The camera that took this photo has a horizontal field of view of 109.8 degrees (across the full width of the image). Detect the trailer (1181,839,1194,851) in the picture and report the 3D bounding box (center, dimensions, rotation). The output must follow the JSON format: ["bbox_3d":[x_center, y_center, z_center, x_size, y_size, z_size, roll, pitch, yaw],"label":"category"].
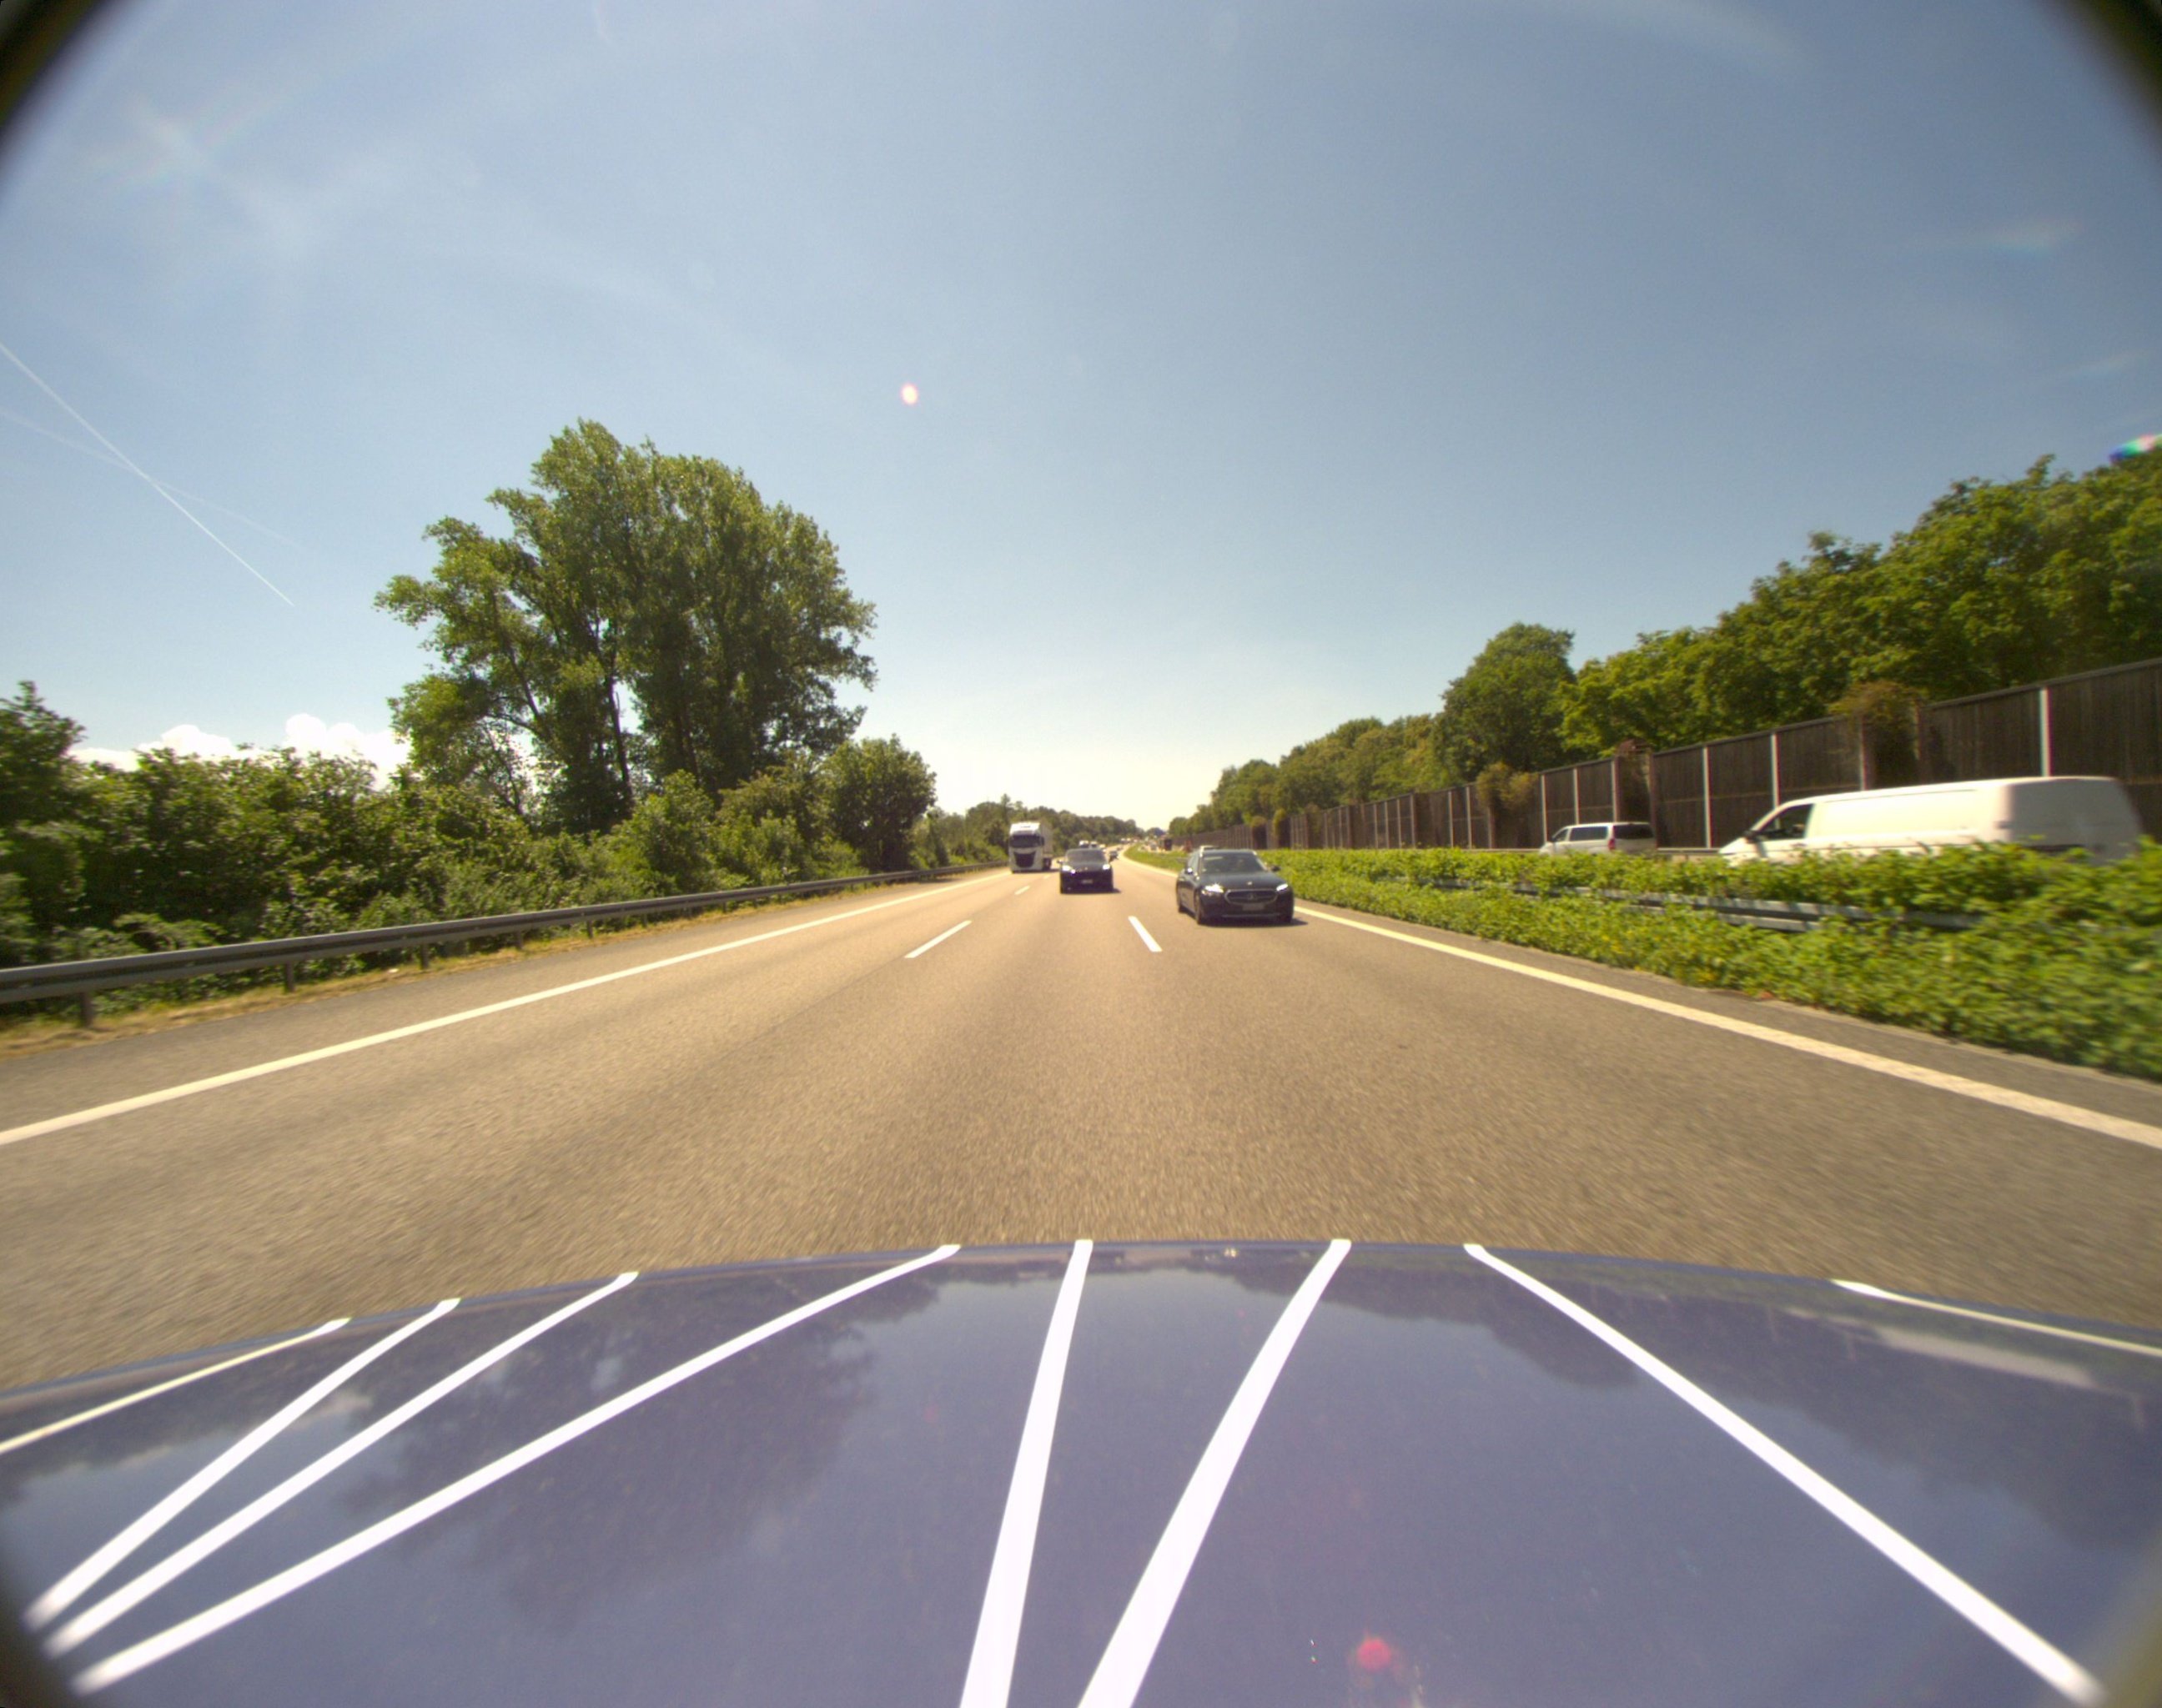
[{"bbox_3d":[24.403,-2.018,174.064,2.248,2.760,6.509,-2,1,2],"label":"trailer"}]

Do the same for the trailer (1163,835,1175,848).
[{"bbox_3d":[29.149,-4.122,252.549,2.905,4.069,13.333,-2,1,3],"label":"trailer"}]

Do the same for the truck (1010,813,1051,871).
[{"bbox_3d":[-4.073,-0.995,62.156,2.541,4.446,5.572,-2,1,3],"label":"truck"}]

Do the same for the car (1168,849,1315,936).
[{"bbox_3d":[3.229,0.676,16.642,1.948,1.498,5.820,-2,1,0],"label":"car"}]

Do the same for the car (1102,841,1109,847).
[{"bbox_3d":[7.831,-3.159,240.074,1.909,1.717,4.871,-2,1,4],"label":"car"}]

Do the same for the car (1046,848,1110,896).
[{"bbox_3d":[0.007,0.632,30.057,2.048,1.616,5.773,-2,1,4],"label":"car"}]

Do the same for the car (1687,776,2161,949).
[{"bbox_3d":[12.490,0.072,11.695,1.999,2.002,5.345,-2,1,-1],"label":"car"}]

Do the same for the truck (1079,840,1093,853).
[{"bbox_3d":[1.501,-2.107,214.008,3.073,3.618,12.403,-2,1,4],"label":"truck"}]

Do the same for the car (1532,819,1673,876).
[{"bbox_3d":[20.822,-0.263,30.686,1.998,2.002,5.385,-2,1,1],"label":"car"}]

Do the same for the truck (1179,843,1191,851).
[{"bbox_3d":[24.672,-1.590,180.389,2.106,1.805,6.211,-2,1,2],"label":"truck"}]

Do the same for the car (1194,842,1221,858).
[{"bbox_3d":[13.997,-0.441,84.333,1.999,1.638,5.044,-2,0,0],"label":"car"}]

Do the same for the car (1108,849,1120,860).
[{"bbox_3d":[5.534,0.094,127.877,1.909,1.717,4.376,-2,1,4],"label":"car"}]

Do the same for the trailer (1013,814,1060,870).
[{"bbox_3d":[-3.803,-1.076,68.388,2.541,4.446,14.161,-2,1,3],"label":"trailer"}]
